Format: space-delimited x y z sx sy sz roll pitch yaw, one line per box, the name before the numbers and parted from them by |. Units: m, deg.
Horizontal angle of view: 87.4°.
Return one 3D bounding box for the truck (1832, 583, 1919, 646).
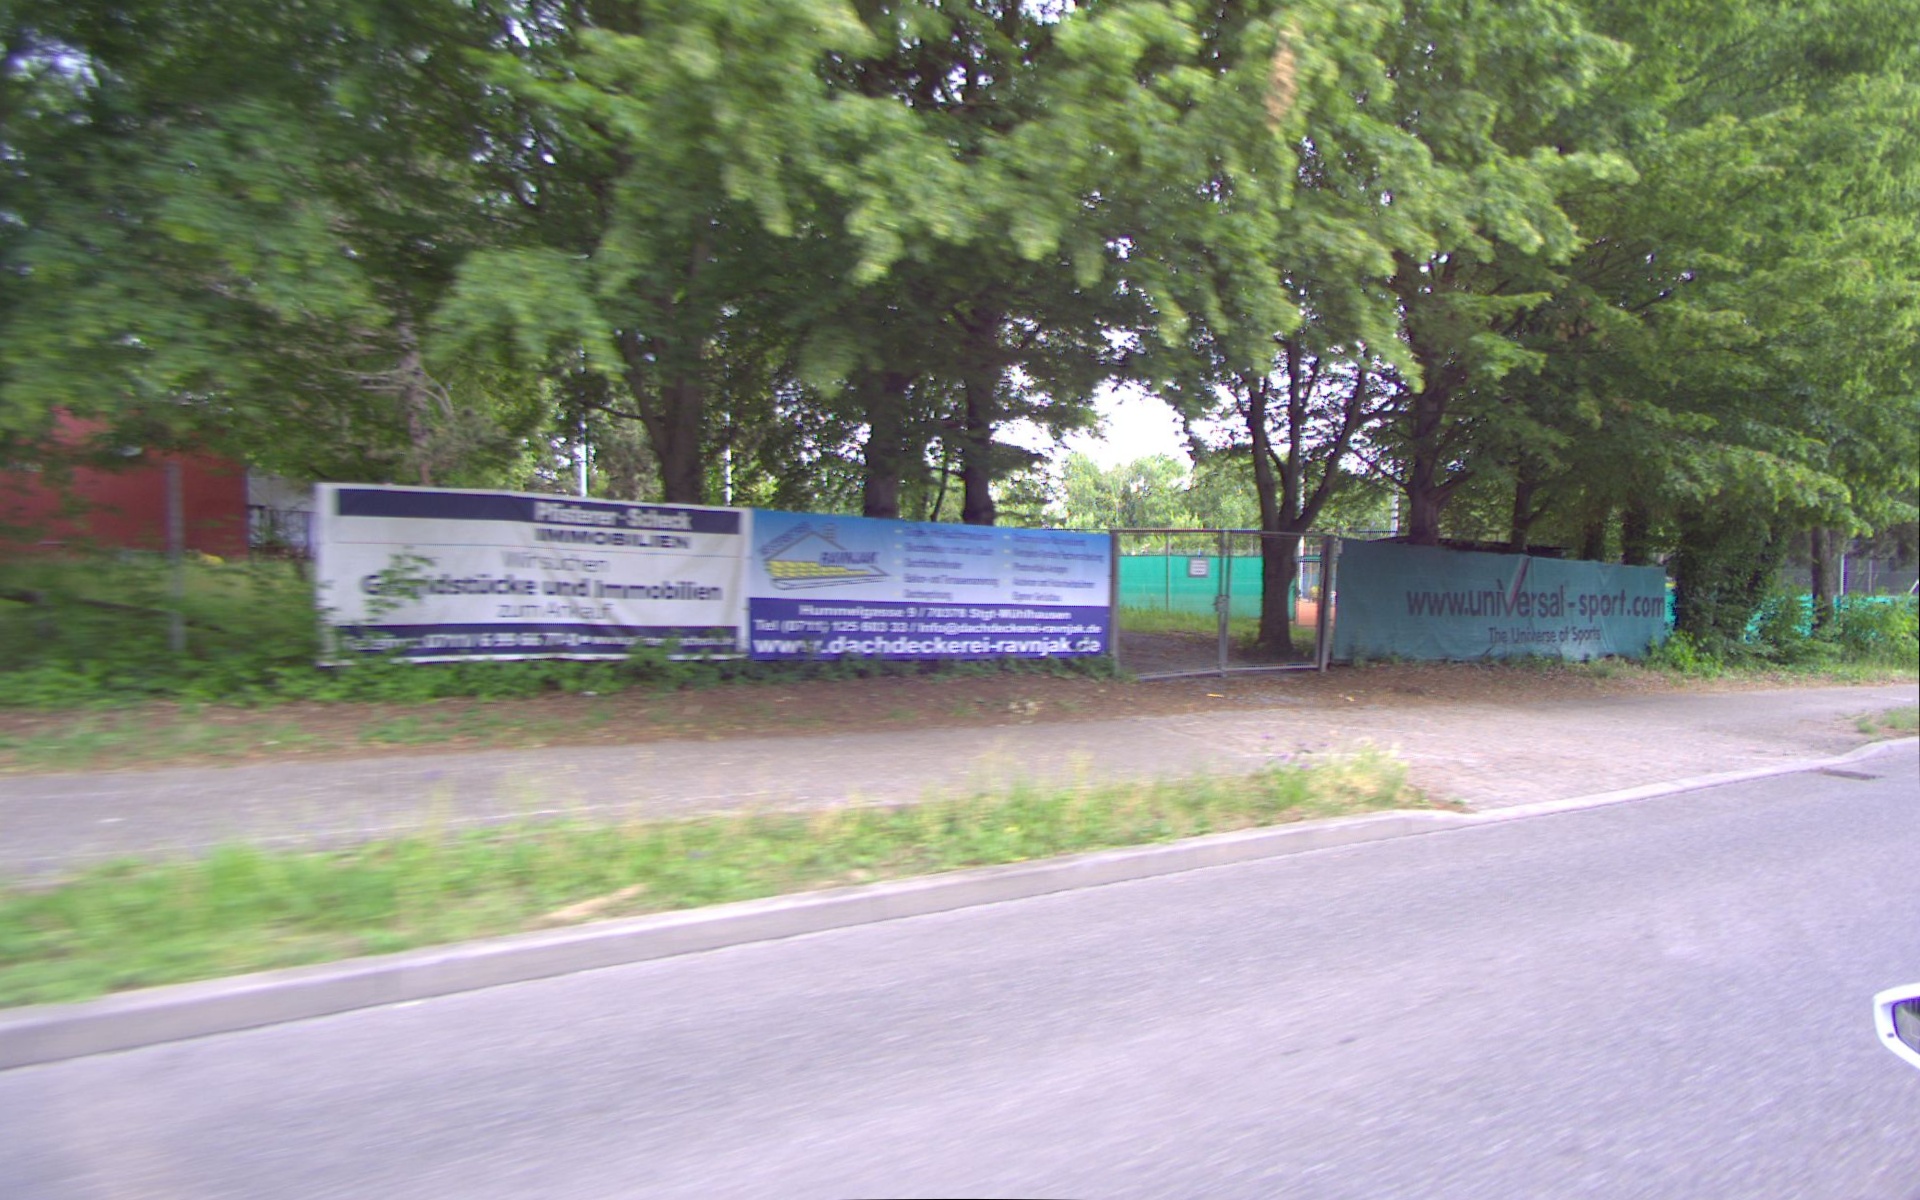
truck | 57.629 0.952 59.294 9.124 3.578 2.552 2 0 41
